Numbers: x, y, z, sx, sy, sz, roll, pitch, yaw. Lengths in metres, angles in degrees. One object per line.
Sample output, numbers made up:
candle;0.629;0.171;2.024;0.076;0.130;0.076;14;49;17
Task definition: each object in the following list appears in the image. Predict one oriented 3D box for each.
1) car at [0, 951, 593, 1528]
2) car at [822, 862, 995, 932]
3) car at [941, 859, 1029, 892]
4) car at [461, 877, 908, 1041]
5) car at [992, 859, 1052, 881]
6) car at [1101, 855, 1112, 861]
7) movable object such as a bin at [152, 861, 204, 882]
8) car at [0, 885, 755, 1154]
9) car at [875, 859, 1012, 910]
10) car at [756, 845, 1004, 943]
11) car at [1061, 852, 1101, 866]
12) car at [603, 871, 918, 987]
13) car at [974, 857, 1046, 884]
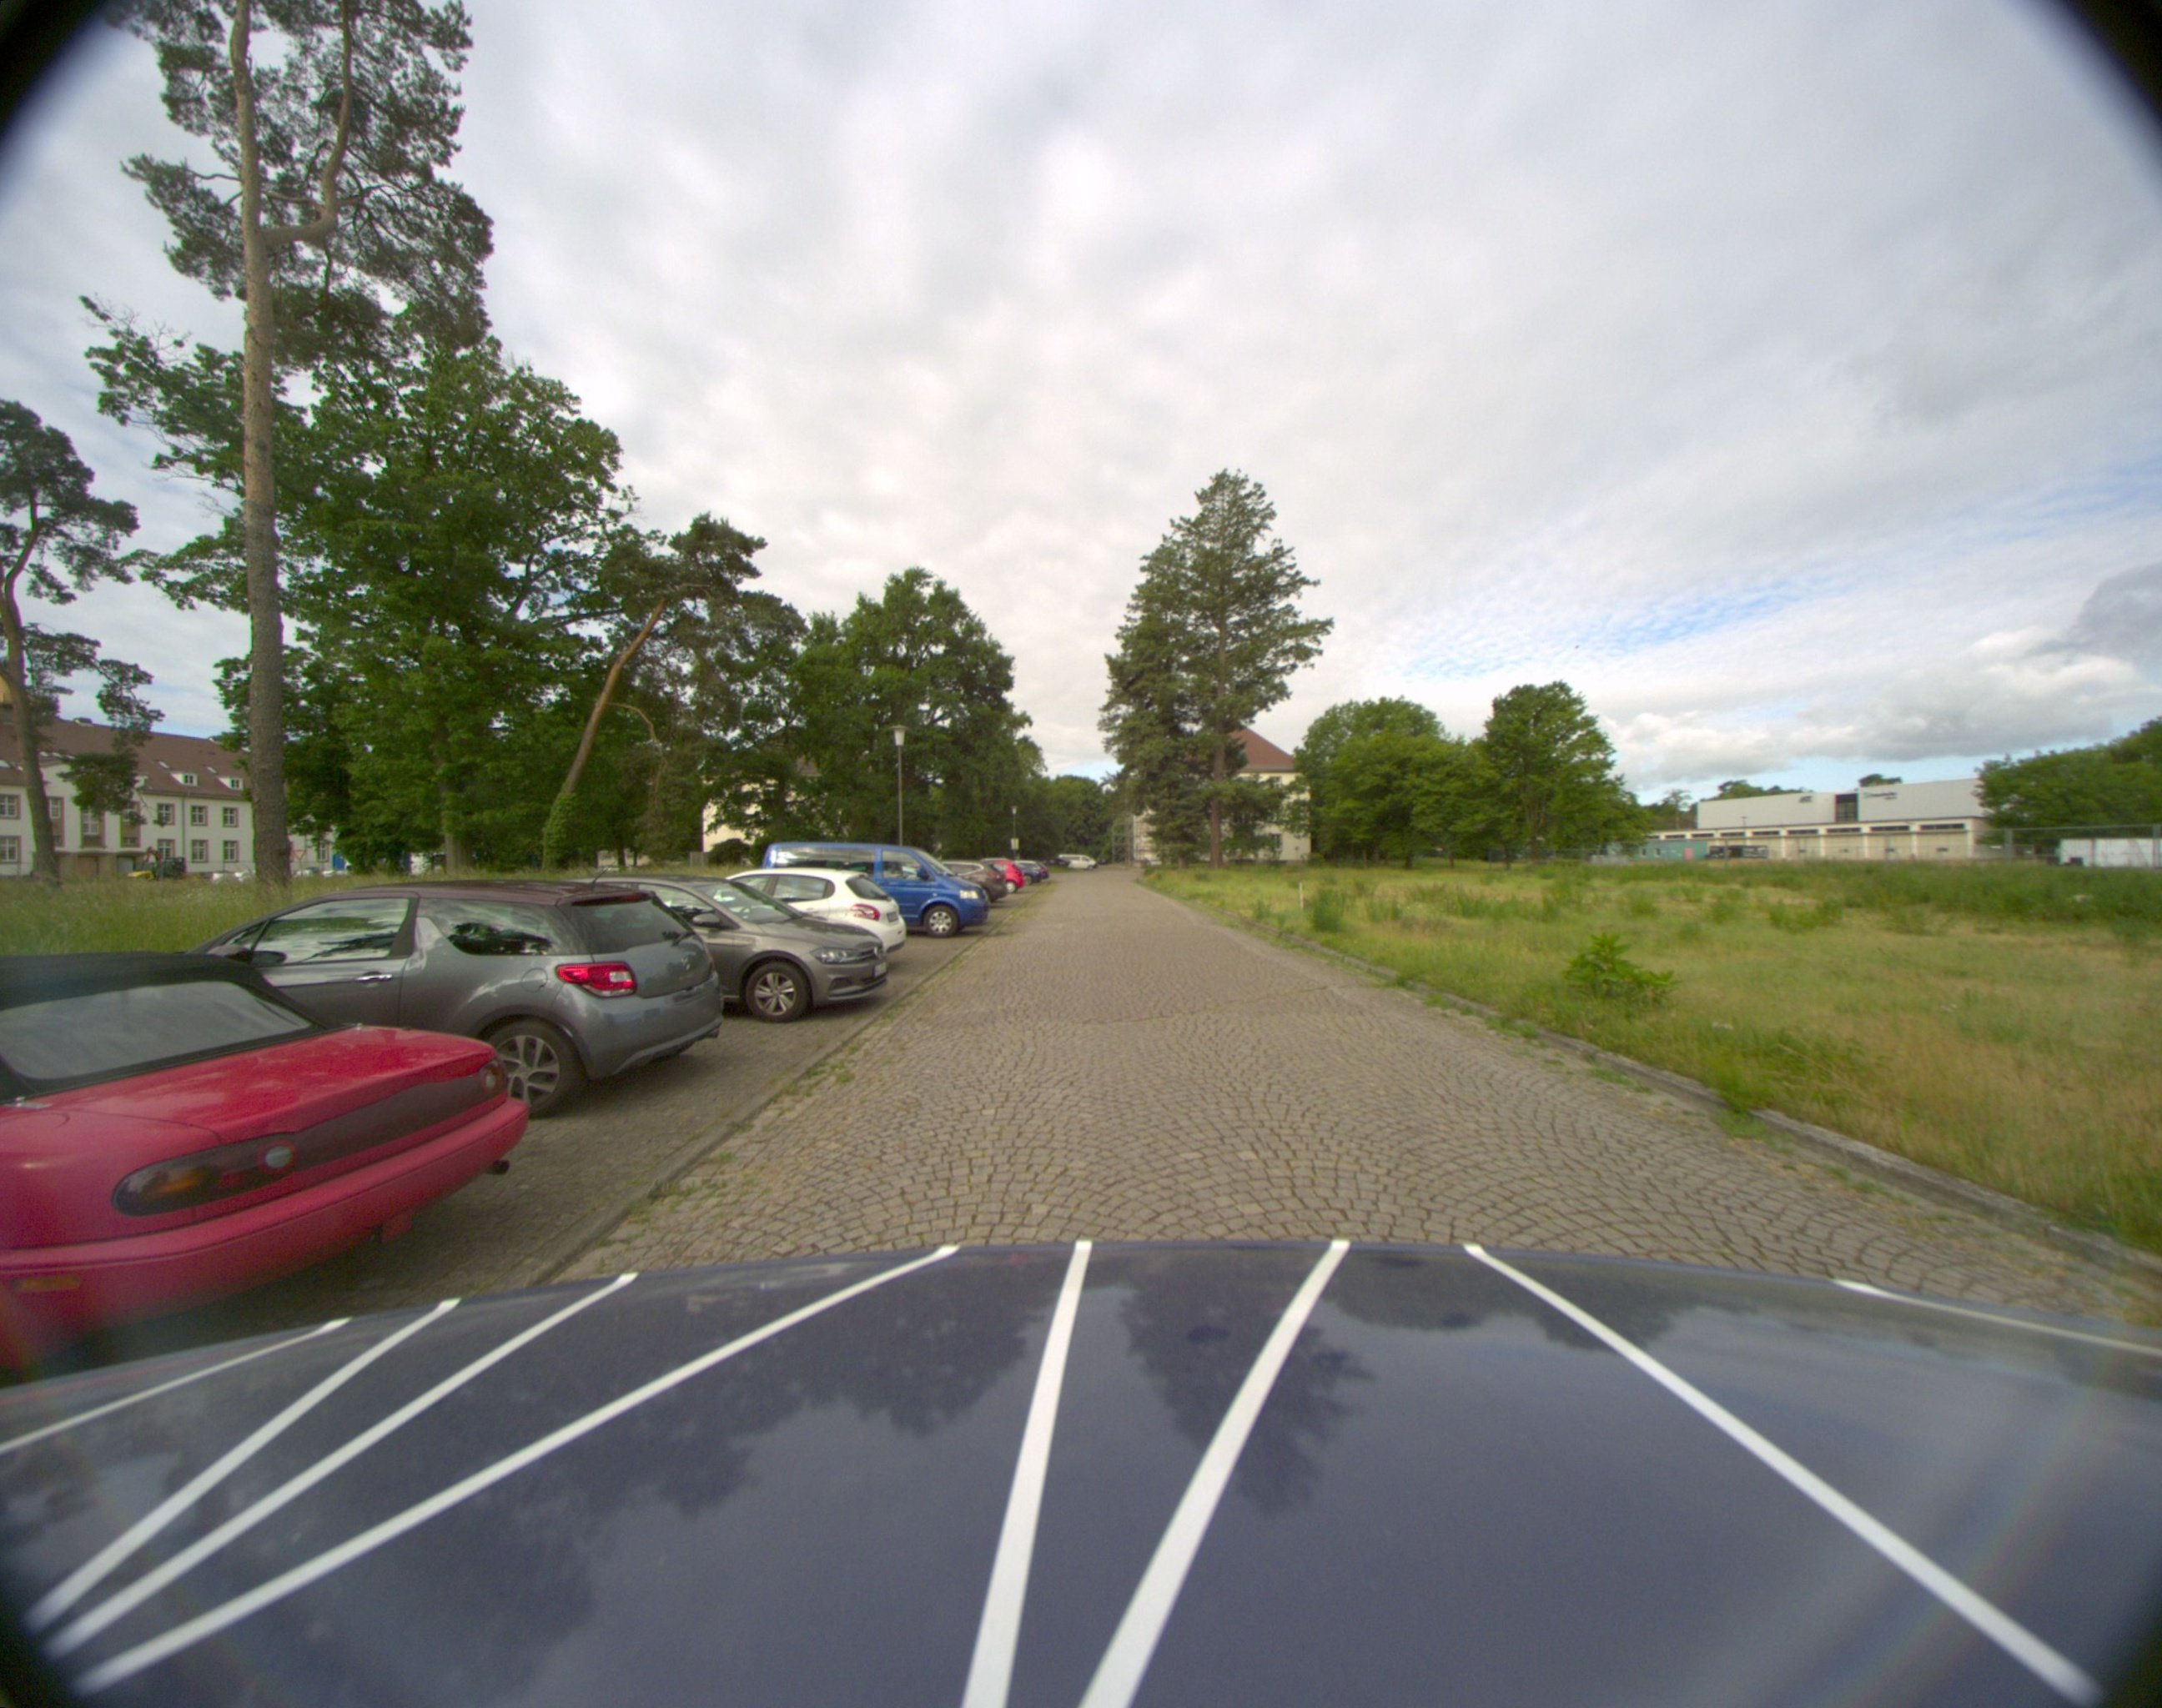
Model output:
car;-4.321;1.099;2.805;3.872;1.229;1.758;1;0;-1
car;-4.229;1.040;19.078;3.872;1.463;1.841;3;0;-1
car;-4.447;0.982;35.628;3.895;1.451;1.582;1;0;-1
car;-4.012;1.037;8.186;3.872;1.463;1.758;1;0;0
car;-3.875;1.045;50.529;3.878;1.417;1.582;1;0;-1
car;5.487;0.840;166.268;1.870;1.408;4.694;1;0;-4
movable object such as a bin;-89.706;1.723;75.550;1.553;2.002;2.985;-1;0;1
car;-4.619;1.014;5.346;3.872;1.463;1.758;1;0;-1
car;-4.502;0.978;25.351;4.271;1.589;1.822;1;0;-1
car;-4.203;0.823;16.515;4.820;1.934;2.003;1;0;-1
car;0.036;0.649;99.321;5.141;1.860;1.723;1;0;-1
car;-4.553;1.043;11.207;3.872;1.463;1.758;1;0;1
car;-4.247;0.994;45.870;4.150;1.529;1.582;1;0;-1
